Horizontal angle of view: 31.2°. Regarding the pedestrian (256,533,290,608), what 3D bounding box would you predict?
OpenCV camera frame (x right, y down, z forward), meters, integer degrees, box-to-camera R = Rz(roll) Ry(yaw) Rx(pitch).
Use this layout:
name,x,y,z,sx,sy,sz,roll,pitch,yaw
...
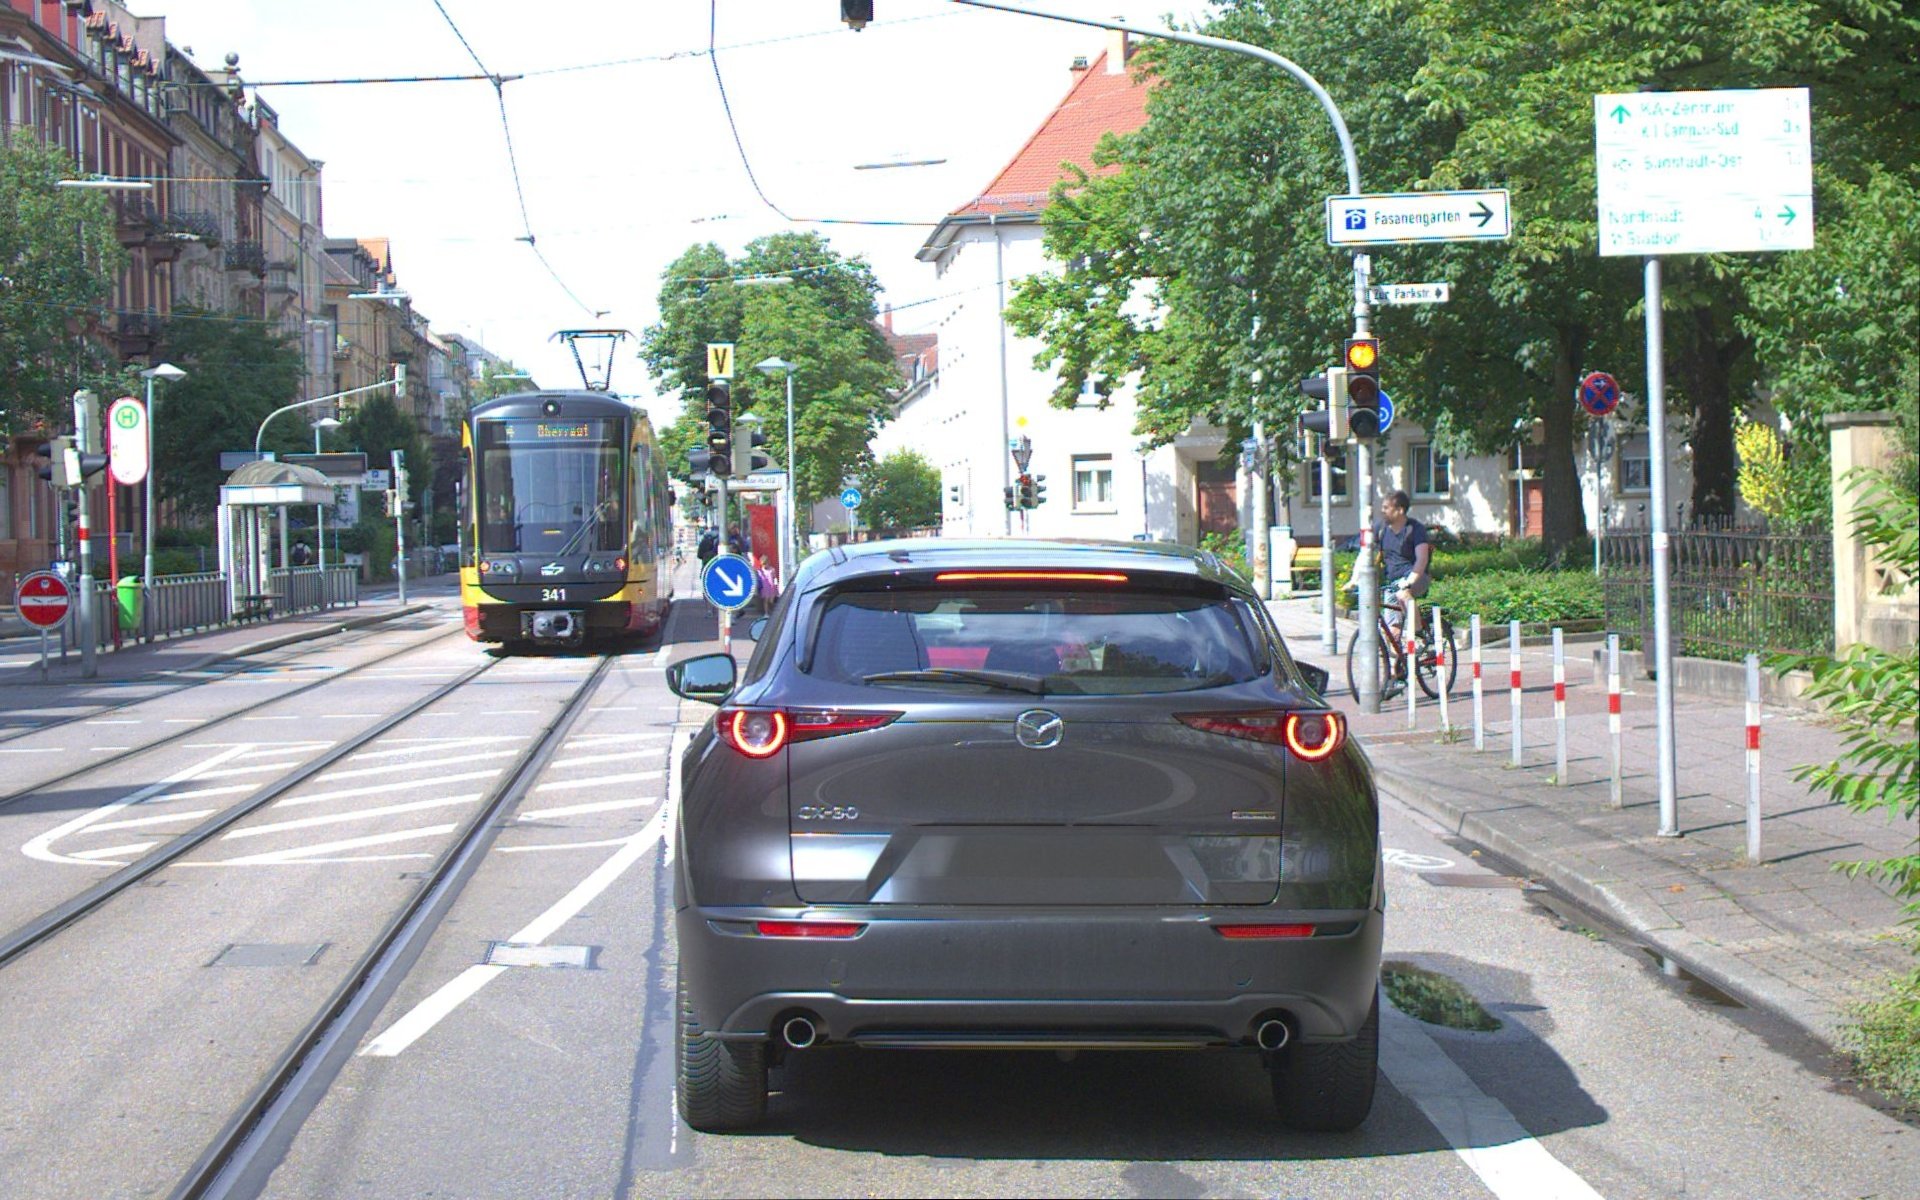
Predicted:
name,x,y,z,sx,sy,sz,roll,pitch,yaw
pedestrian,-12.892,-0.553,64.506,0.429,1.394,0.398,-1,1,30

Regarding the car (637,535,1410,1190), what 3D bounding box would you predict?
name,x,y,z,sx,sy,sz,roll,pitch,yaw
car,0.111,0.575,10.003,1.778,1.494,4.000,1,1,-1

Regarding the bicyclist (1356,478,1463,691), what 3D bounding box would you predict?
name,x,y,z,sx,sy,sz,roll,pitch,yaw
bicyclist,3.841,-0.137,29.356,0.657,1.786,0.608,0,1,39

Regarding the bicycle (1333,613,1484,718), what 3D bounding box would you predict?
name,x,y,z,sx,sy,sz,roll,pitch,yaw
bicycle,3.846,0.548,29.383,0.494,0.821,1.695,0,1,37

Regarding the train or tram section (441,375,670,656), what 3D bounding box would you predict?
name,x,y,z,sx,sy,sz,roll,pitch,yaw
train or tram section,-5.694,-1.323,50.525,2.752,3.478,14.411,-1,2,-5

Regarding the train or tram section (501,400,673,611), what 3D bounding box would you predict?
name,x,y,z,sx,sy,sz,roll,pitch,yaw
train or tram section,-6.859,-1.844,64.862,2.752,3.478,14.411,-1,2,-5

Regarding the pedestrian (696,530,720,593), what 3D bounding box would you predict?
name,x,y,z,sx,sy,sz,roll,pitch,yaw
pedestrian,-4.304,-0.664,58.796,0.379,1.067,0.474,-1,1,-5

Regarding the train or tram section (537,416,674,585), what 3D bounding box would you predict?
name,x,y,z,sx,sy,sz,roll,pitch,yaw
train or tram section,-8.023,-2.338,79.212,2.752,3.478,14.411,-1,2,-5

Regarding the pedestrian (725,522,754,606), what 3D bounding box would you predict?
name,x,y,z,sx,sy,sz,roll,pitch,yaw
pedestrian,-3.771,-0.619,58.783,0.450,1.429,0.474,-1,1,-5

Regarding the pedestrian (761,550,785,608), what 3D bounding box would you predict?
name,x,y,z,sx,sy,sz,roll,pitch,yaw
pedestrian,-3.226,-0.360,59.293,0.379,0.981,0.474,-1,1,-5

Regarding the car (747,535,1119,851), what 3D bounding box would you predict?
name,x,y,z,sx,sy,sz,roll,pitch,yaw
car,-0.168,0.415,18.645,1.778,1.494,4.000,1,1,-1
